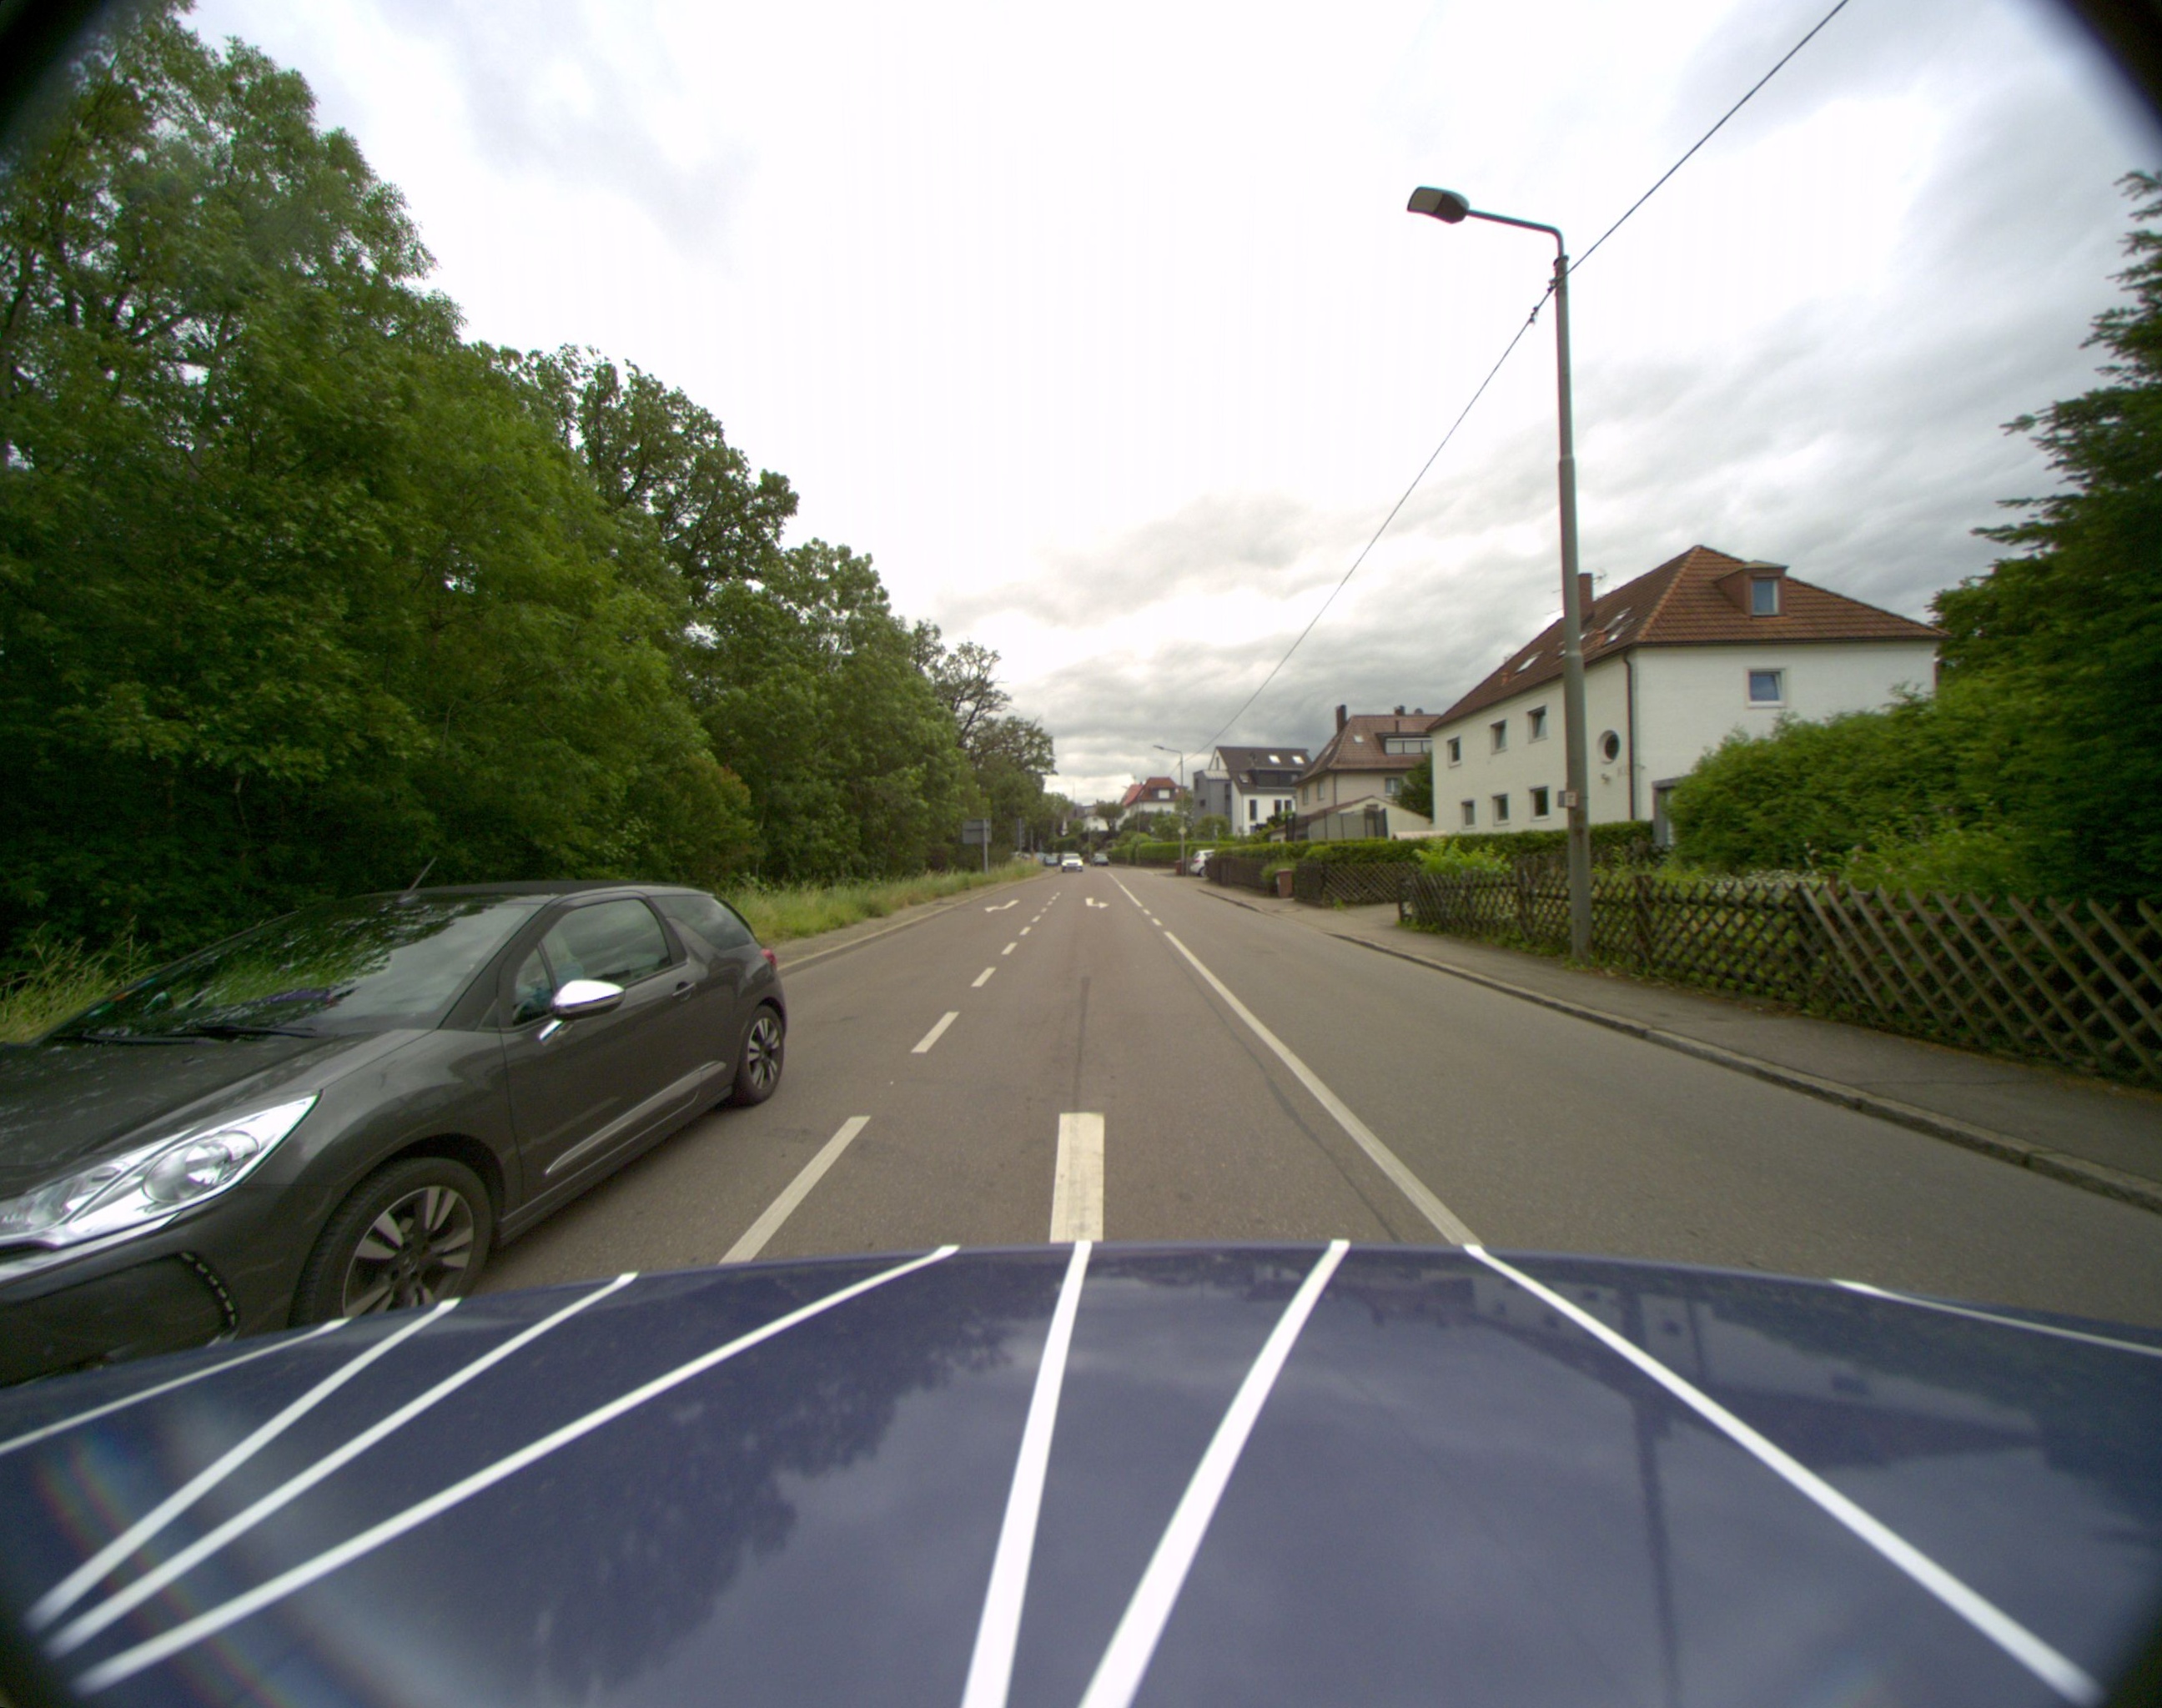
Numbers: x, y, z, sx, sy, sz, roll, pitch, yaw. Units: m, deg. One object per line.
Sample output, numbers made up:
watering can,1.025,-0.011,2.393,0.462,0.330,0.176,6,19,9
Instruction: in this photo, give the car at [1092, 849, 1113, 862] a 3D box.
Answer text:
car,2.536,0.211,91.585,1.840,1.514,3.996,-1,1,-9

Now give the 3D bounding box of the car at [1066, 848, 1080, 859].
car,-1.113,-0.069,107.069,1.818,1.590,3.955,-1,0,-2

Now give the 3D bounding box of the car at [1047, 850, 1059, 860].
car,-4.735,0.180,128.512,1.832,1.665,3.997,-1,2,-4

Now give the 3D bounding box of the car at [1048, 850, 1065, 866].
car,-3.189,0.536,98.834,1.998,2.002,4.000,-1,0,1

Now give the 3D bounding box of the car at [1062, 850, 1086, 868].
car,-0.607,0.466,69.409,1.998,1.565,4.000,-1,1,3

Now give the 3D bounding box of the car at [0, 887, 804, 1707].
car,-2.887,1.005,3.373,1.730,1.449,3.855,-2,1,2
